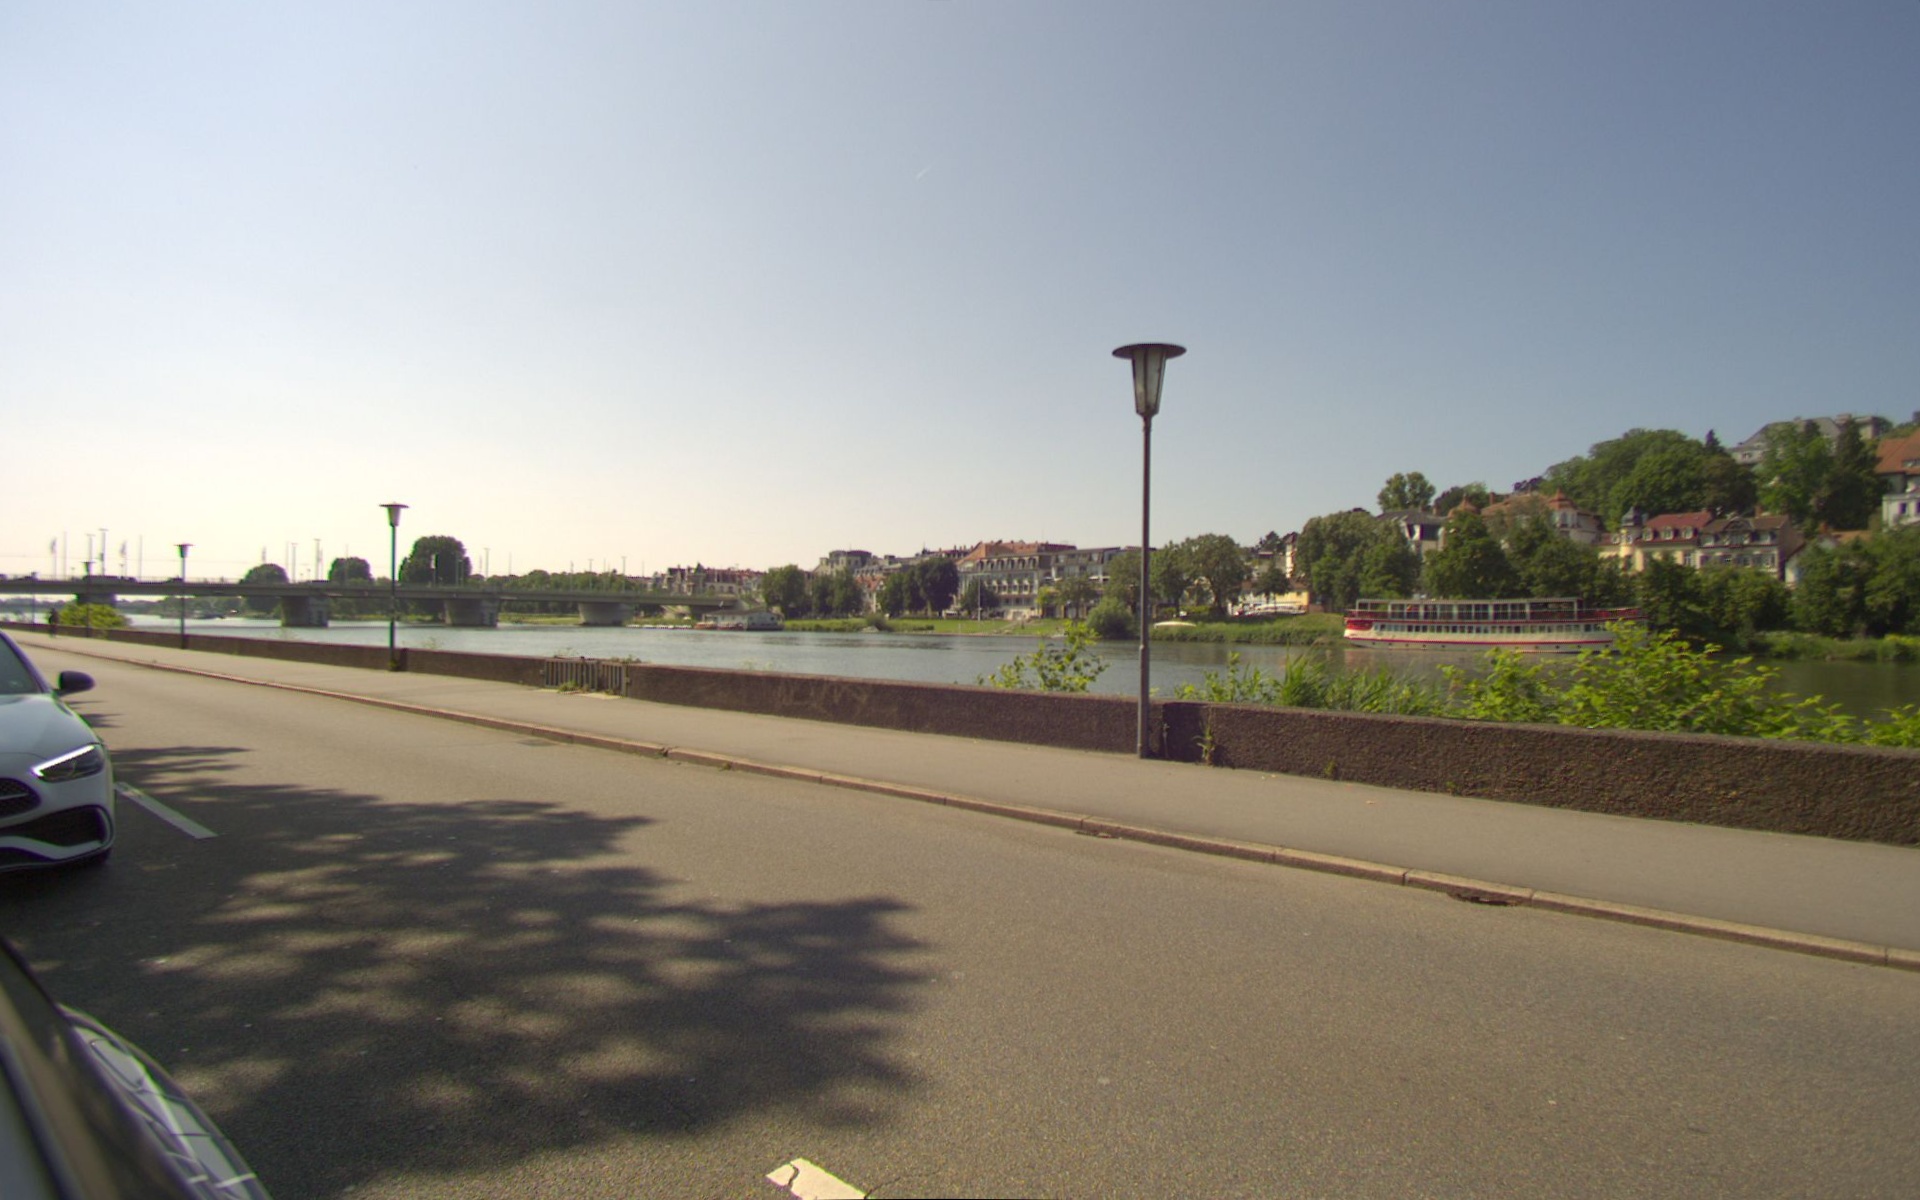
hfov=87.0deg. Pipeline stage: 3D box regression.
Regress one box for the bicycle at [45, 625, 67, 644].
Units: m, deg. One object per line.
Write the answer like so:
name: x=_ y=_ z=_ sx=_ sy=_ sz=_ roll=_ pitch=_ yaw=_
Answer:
bicycle: x=-48.301 y=1.845 z=54.078 sx=1.984 sy=1.019 sz=0.626 roll=-1 pitch=-2 yaw=41

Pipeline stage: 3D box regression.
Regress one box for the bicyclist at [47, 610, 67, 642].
bicyclist: x=-48.275 y=1.374 z=54.099 sx=0.870 sy=1.686 sz=0.631 roll=-1 pitch=-2 yaw=41

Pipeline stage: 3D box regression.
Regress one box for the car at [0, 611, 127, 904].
car: x=-6.668 y=0.806 z=6.161 sx=4.551 sy=1.430 sz=1.806 roll=-1 pitch=-1 yaw=42
